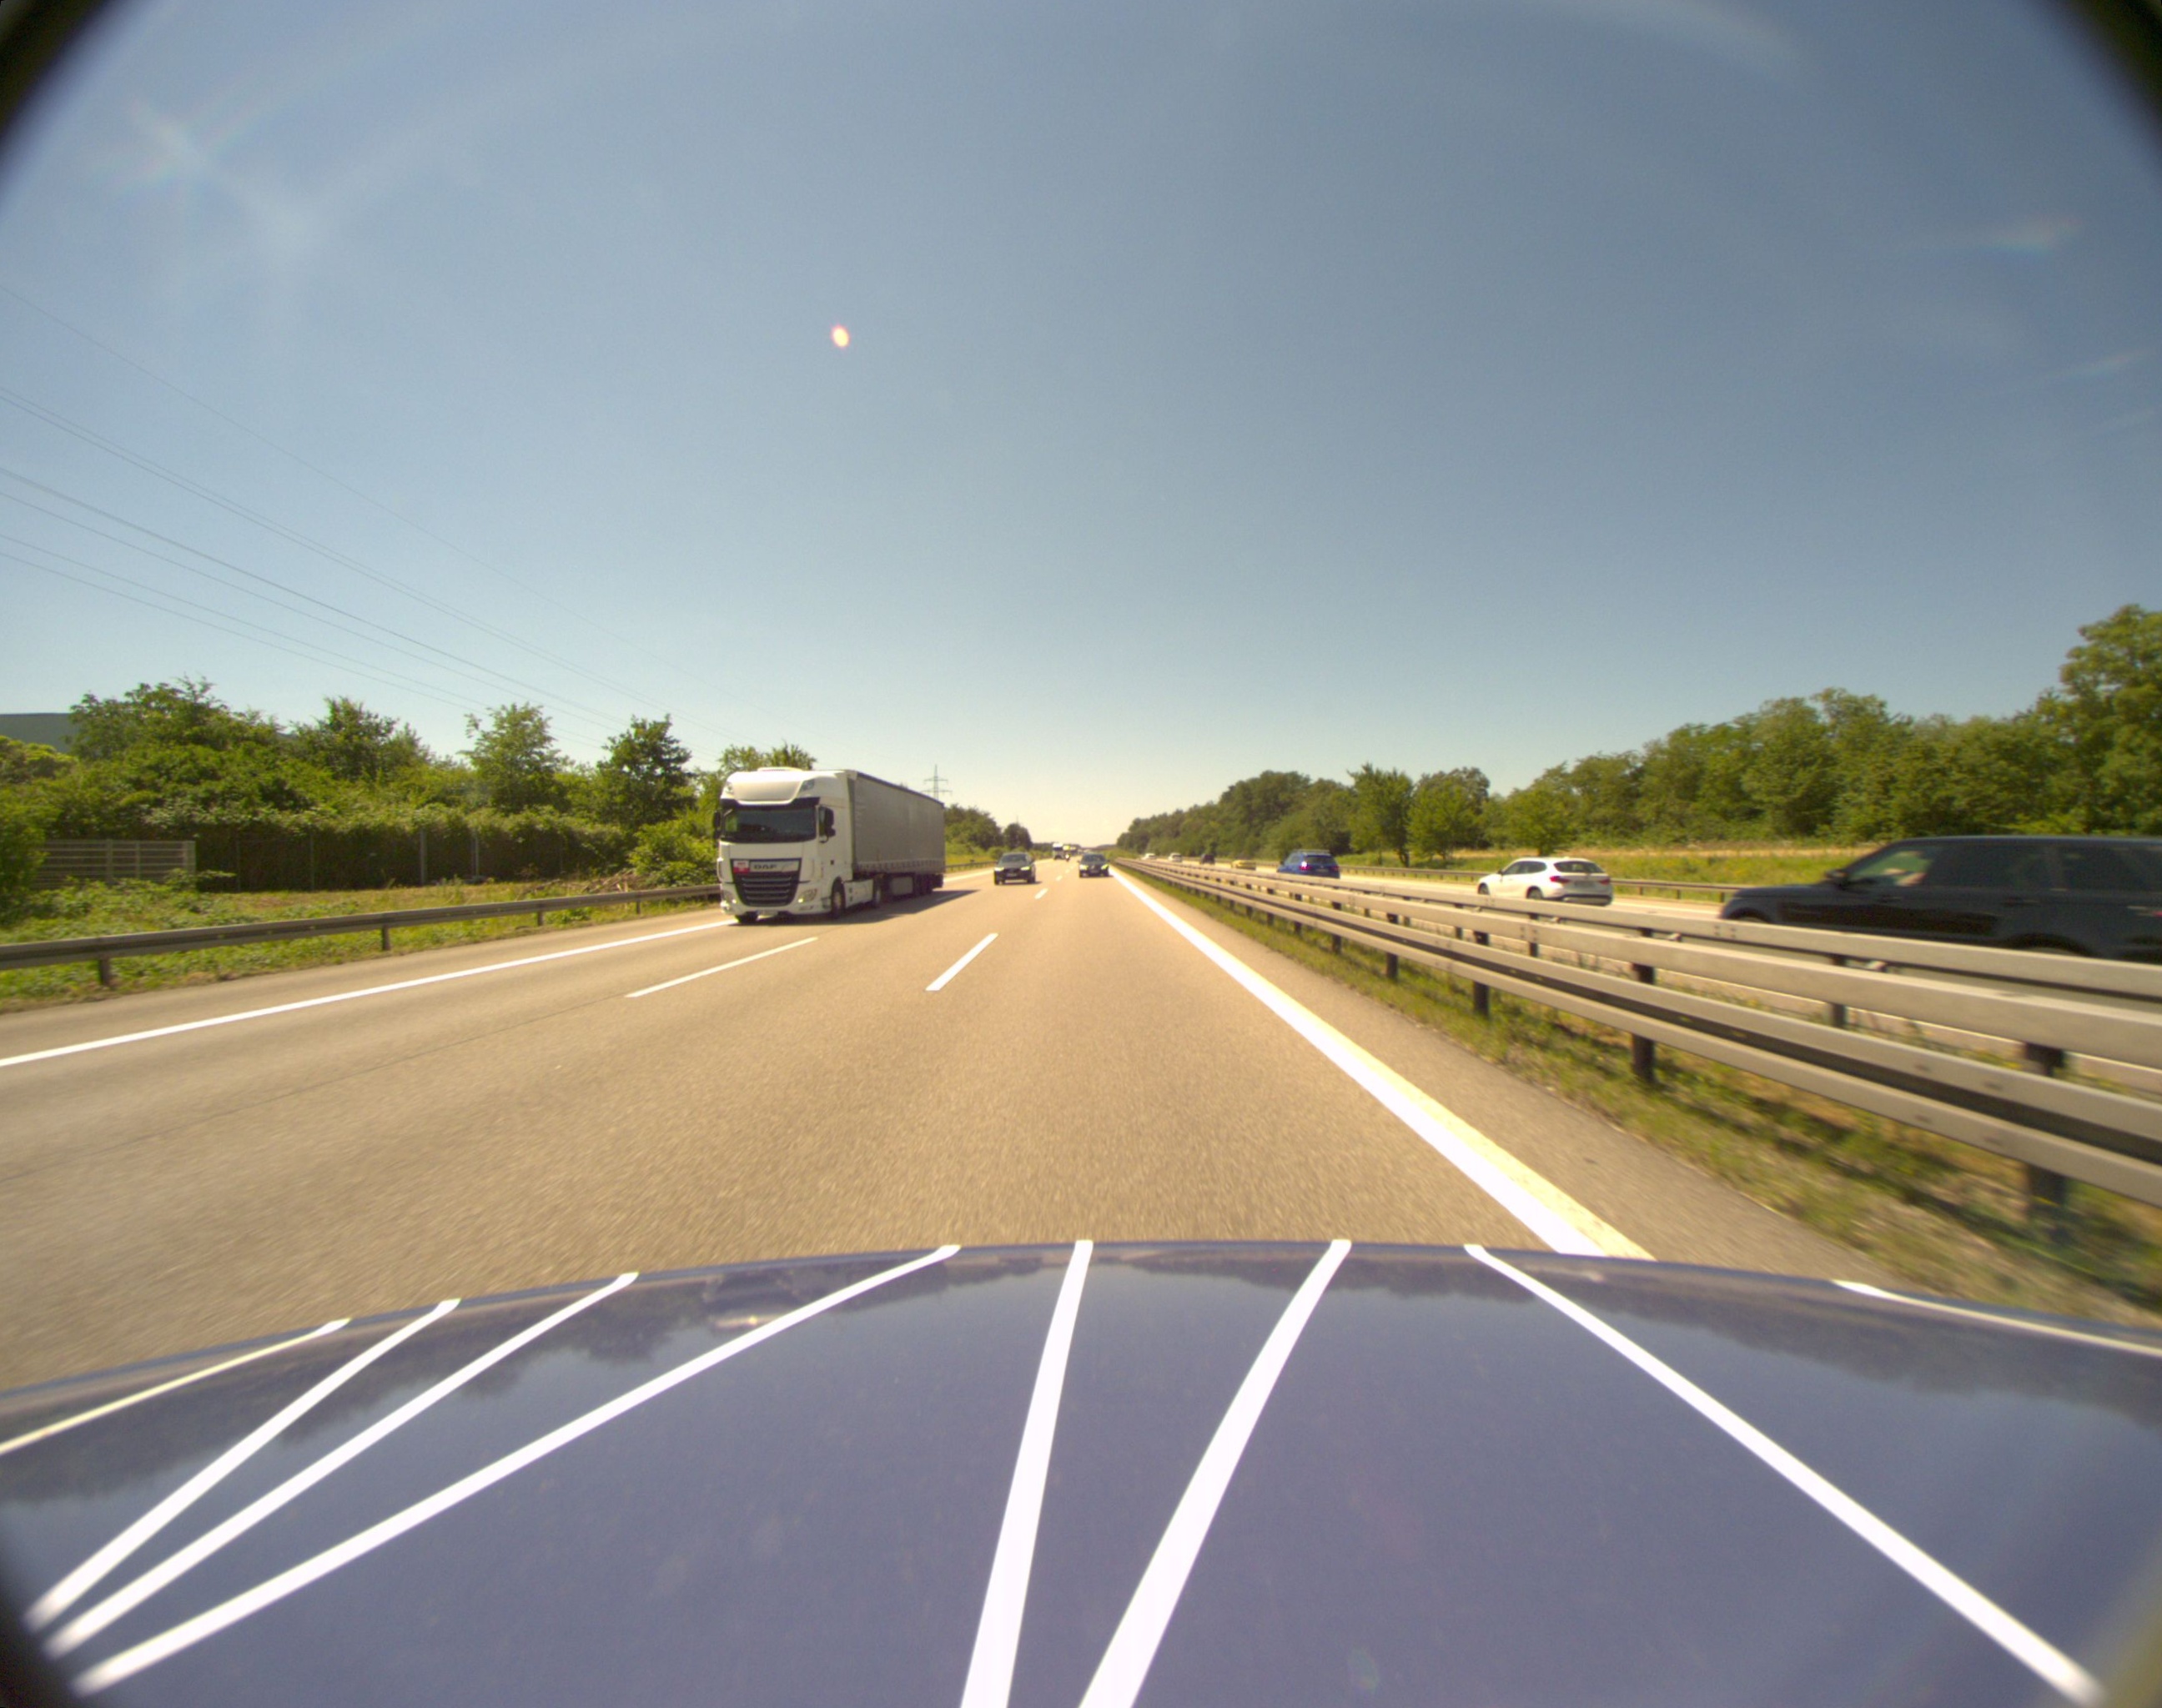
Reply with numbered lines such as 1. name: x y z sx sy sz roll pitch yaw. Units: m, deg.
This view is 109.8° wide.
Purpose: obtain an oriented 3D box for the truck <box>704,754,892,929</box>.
1. truck: -7.499 -0.310 21.143 2.743 4.096 6.124 -2 1 1

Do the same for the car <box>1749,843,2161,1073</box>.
1. car: 9.287 0.788 7.242 1.964 1.761 4.442 0 1 1

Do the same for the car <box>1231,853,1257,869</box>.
1. car: 14.584 0.605 68.009 1.586 1.420 3.476 1 1 1

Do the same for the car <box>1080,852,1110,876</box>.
1. car: 0.843 0.606 47.632 1.808 1.385 3.999 -2 1 0

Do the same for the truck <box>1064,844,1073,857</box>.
1. truck: -4.319 -1.330 259.689 2.978 4.240 12.610 0 1 0

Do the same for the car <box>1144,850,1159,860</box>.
1. car: 10.652 0.131 114.779 1.799 1.483 4.238 1 0 1

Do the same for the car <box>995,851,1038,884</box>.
1. car: -3.372 0.659 40.203 1.878 1.614 4.004 -1 0 0

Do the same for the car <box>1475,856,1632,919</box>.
1. car: 13.227 0.875 21.640 1.884 1.557 4.192 1 1 1

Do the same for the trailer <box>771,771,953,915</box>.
1. trailer: -7.418 -0.362 28.433 2.743 4.083 13.121 -2 0 1

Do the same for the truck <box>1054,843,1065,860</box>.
1. truck: -5.247 -0.623 186.178 2.573 3.871 5.722 -2 1 0

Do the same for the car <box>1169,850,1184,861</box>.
1. car: 14.480 0.161 115.190 1.840 1.576 3.889 1 1 1

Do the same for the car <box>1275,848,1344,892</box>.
1. car: 9.618 0.615 32.274 1.771 1.740 3.985 1 1 1

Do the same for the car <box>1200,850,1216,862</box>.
1. car: 18.217 0.286 109.164 1.737 1.584 3.902 1 1 1
